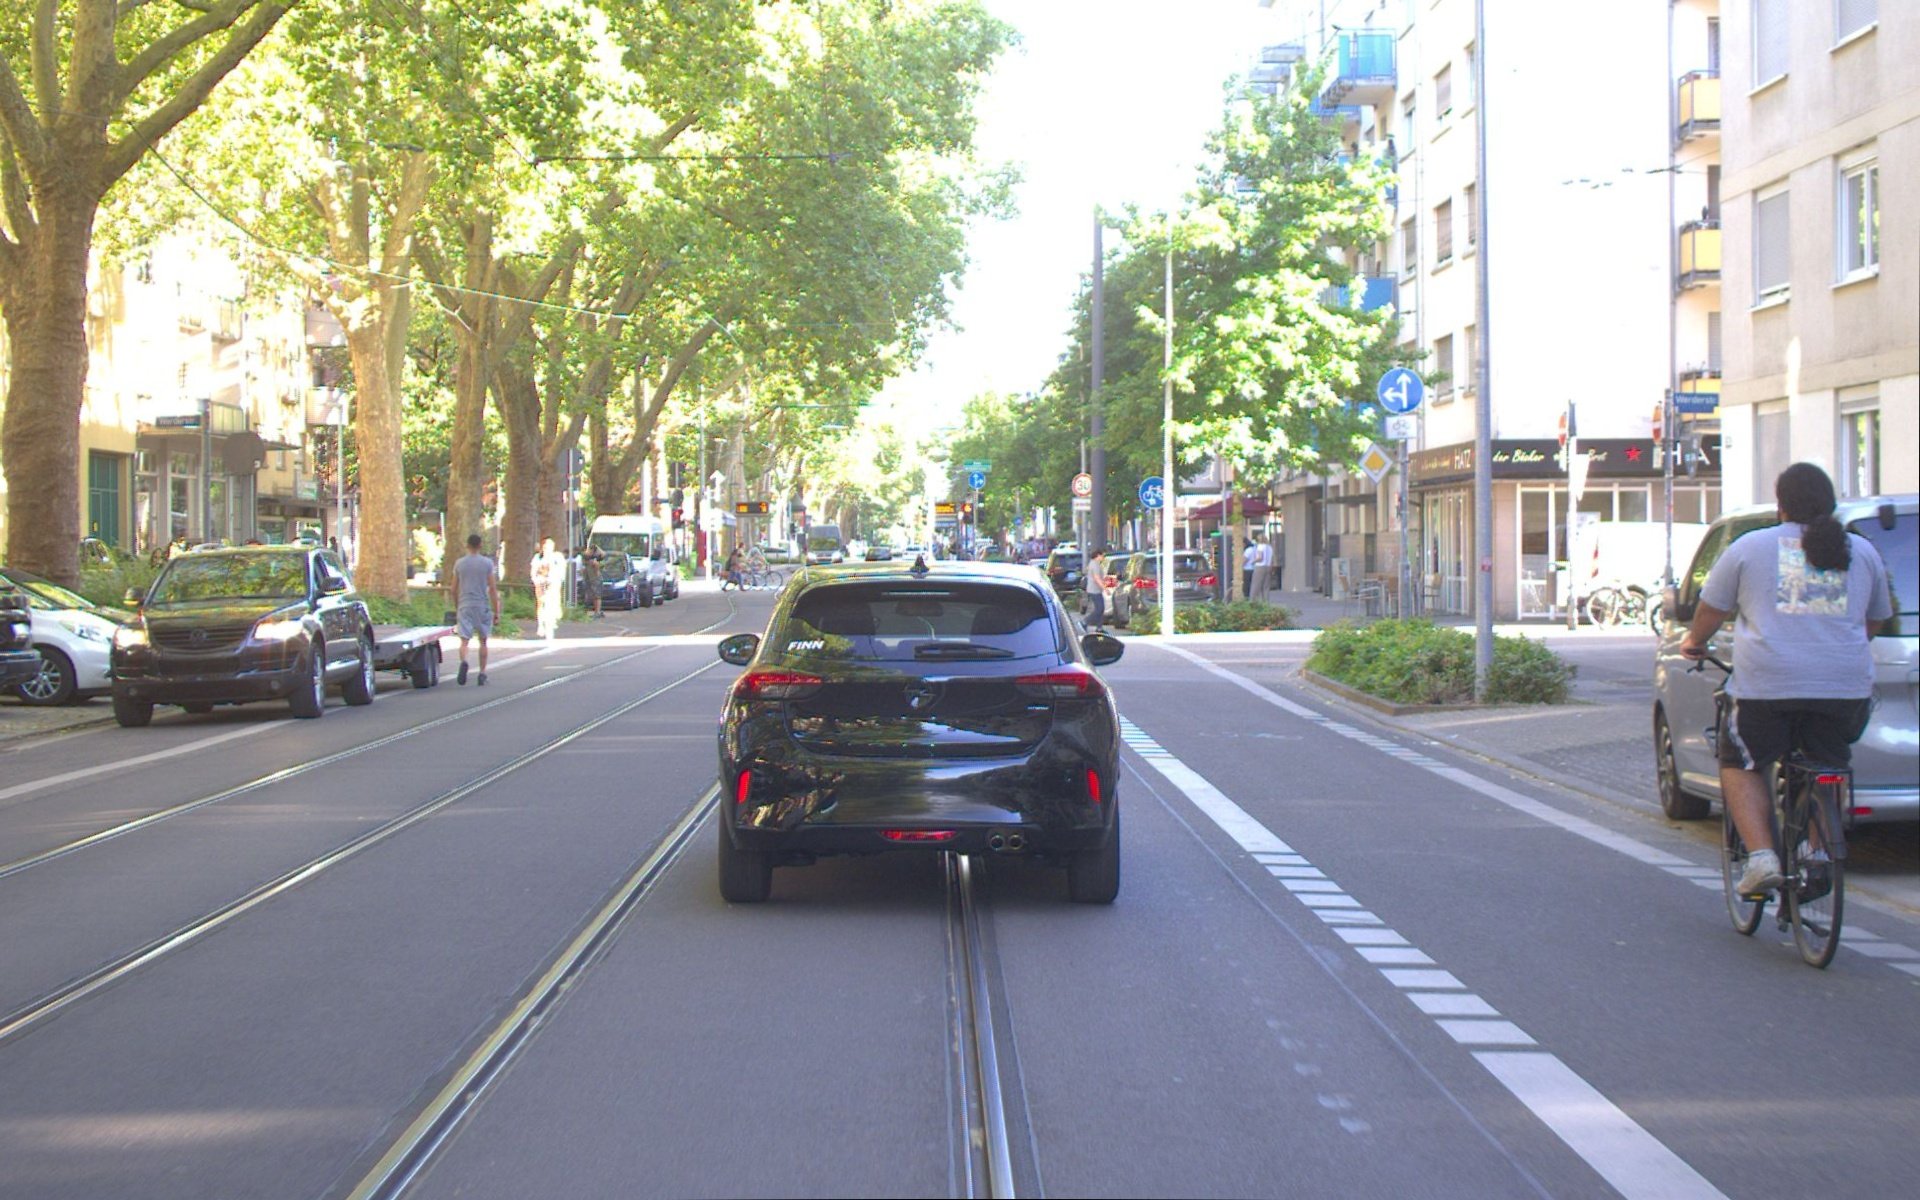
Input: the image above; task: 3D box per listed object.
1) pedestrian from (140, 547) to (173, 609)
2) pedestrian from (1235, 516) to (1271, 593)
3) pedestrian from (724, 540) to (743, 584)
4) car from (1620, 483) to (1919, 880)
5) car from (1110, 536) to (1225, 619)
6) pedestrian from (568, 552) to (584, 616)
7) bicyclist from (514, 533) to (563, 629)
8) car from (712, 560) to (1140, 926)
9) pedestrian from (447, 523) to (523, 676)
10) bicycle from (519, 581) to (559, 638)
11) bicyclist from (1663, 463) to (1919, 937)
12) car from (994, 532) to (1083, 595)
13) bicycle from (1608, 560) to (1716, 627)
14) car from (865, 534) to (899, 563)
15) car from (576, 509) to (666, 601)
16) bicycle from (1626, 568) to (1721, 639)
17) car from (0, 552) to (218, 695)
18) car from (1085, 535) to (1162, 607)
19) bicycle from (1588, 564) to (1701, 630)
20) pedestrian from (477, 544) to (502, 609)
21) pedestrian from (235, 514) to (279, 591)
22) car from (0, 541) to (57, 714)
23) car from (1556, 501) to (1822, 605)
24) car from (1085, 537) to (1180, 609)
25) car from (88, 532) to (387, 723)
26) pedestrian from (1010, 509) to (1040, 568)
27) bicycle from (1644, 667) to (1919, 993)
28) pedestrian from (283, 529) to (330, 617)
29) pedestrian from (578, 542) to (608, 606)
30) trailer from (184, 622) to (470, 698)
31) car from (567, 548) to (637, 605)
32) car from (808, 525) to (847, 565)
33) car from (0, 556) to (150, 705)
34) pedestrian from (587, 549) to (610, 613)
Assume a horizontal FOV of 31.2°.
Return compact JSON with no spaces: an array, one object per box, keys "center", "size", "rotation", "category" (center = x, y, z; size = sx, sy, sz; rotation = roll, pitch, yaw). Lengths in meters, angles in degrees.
[{"center":[-18.222,-0.510,77.987],"size":[0.552,1.398,0.649],"rotation":[-1,1,3],"category":"pedestrian"},{"center":[6.707,-1.044,78.656],"size":[0.768,1.742,0.795],"rotation":[0,1,1],"category":"pedestrian"},{"center":[-8.124,-1.371,123.437],"size":[0.594,1.584,0.893],"rotation":[-1,1,-7],"category":"pedestrian"},{"center":[4.964,0.337,18.774],"size":[1.858,1.883,4.924],"rotation":[0,1,1],"category":"car"},{"center":[4.077,-0.467,68.193],"size":[1.718,1.568,4.085],"rotation":[-1,1,-4],"category":"car"},{"center":[-9.451,-0.396,84.585],"size":[0.346,1.577,0.508],"rotation":[0,1,-2],"category":"pedestrian"},{"center":[-7.468,-0.340,60.950],"size":[0.784,1.672,0.957],"rotation":[-1,1,-3],"category":"bicyclist"},{"center":[-0.163,0.550,15.513],"size":[1.679,1.417,3.628],"rotation":[1,1,-1],"category":"car"},{"center":[-5.499,-0.014,39.753],"size":[0.711,1.729,0.913],"rotation":[-2,1,-15],"category":"pedestrian"},{"center":[-7.459,0.165,60.990],"size":[0.520,0.959,1.929],"rotation":[-1,1,-2],"category":"bicycle"},{"center":[3.192,0.363,13.191],"size":[0.786,1.753,0.915],"rotation":[0,1,-1],"category":"bicyclist"},{"center":[2.079,-1.003,92.490],"size":[1.993,1.634,4.001],"rotation":[-1,1,-4],"category":"car"},{"center":[11.960,-0.117,58.595],"size":[1.773,1.113,0.613],"rotation":[0,1,14],"category":"bicycle"},{"center":[-4.481,-2.986,198.500],"size":[1.750,1.646,4.000],"rotation":[0,1,1],"category":"car"},{"center":[-9.885,-1.329,100.610],"size":[2.092,2.575,5.997],"rotation":[-1,1,-1],"category":"car"},{"center":[10.547,0.042,50.884],"size":[0.802,1.012,1.969],"rotation":[-1,1,-6],"category":"bicycle"},{"center":[-10.138,0.246,38.270],"size":[3.430,1.525,1.787],"rotation":[-1,1,-3],"category":"car"},{"center":[3.683,-0.668,77.708],"size":[1.651,1.568,3.083],"rotation":[0,1,1],"category":"car"},{"center":[11.849,-0.058,59.529],"size":[1.836,1.113,0.703],"rotation":[-1,1,3],"category":"bicycle"},{"center":[-11.624,-0.581,84.910],"size":[0.506,1.577,0.527],"rotation":[-1,1,-17],"category":"pedestrian"},{"center":[-14.952,-1.004,73.142],"size":[0.846,1.627,0.644],"rotation":[-1,1,-6],"category":"pedestrian"},{"center":[-11.072,0.259,33.622],"size":[3.986,1.641,1.894],"rotation":[0,1,-1],"category":"car"},{"center":[13.294,-0.869,62.835],"size":[4.358,1.824,2.000],"rotation":[-1,1,-4],"category":"car"},{"center":[3.680,-0.597,73.742],"size":[1.718,1.485,3.682],"rotation":[-1,1,-2],"category":"car"},{"center":[-7.038,0.211,33.968],"size":[1.993,1.694,4.485],"rotation":[-2,1,-1],"category":"car"},{"center":[2.300,-2.176,121.850],"size":[0.856,2.007,1.069],"rotation":[-5,0,0],"category":"pedestrian"},{"center":[3.200,0.837,13.193],"size":[0.701,1.088,1.990],"rotation":[1,0,-1],"category":"bicycle"},{"center":[-14.033,-0.586,73.830],"size":[0.905,1.862,0.644],"rotation":[-1,1,-6],"category":"pedestrian"},{"center":[-9.116,-0.660,85.321],"size":[0.683,1.577,0.557],"rotation":[0,1,-2],"category":"pedestrian"},{"center":[-7.125,0.650,39.413],"size":[2.160,0.629,6.400],"rotation":[0,1,-1],"category":"trailer"},{"center":[-9.799,-0.659,94.383],"size":[1.754,1.503,4.001],"rotation":[-1,1,-4],"category":"car"},{"center":[-7.455,-3.090,193.014],"size":[1.993,2.204,5.103],"rotation":[-1,1,-5],"category":"car"},{"center":[-10.753,0.315,36.308],"size":[3.986,1.516,1.771],"rotation":[0,1,-1],"category":"car"},{"center":[-8.894,-0.470,84.515],"size":[0.506,1.577,0.527],"rotation":[0,1,-1],"category":"pedestrian"}]
